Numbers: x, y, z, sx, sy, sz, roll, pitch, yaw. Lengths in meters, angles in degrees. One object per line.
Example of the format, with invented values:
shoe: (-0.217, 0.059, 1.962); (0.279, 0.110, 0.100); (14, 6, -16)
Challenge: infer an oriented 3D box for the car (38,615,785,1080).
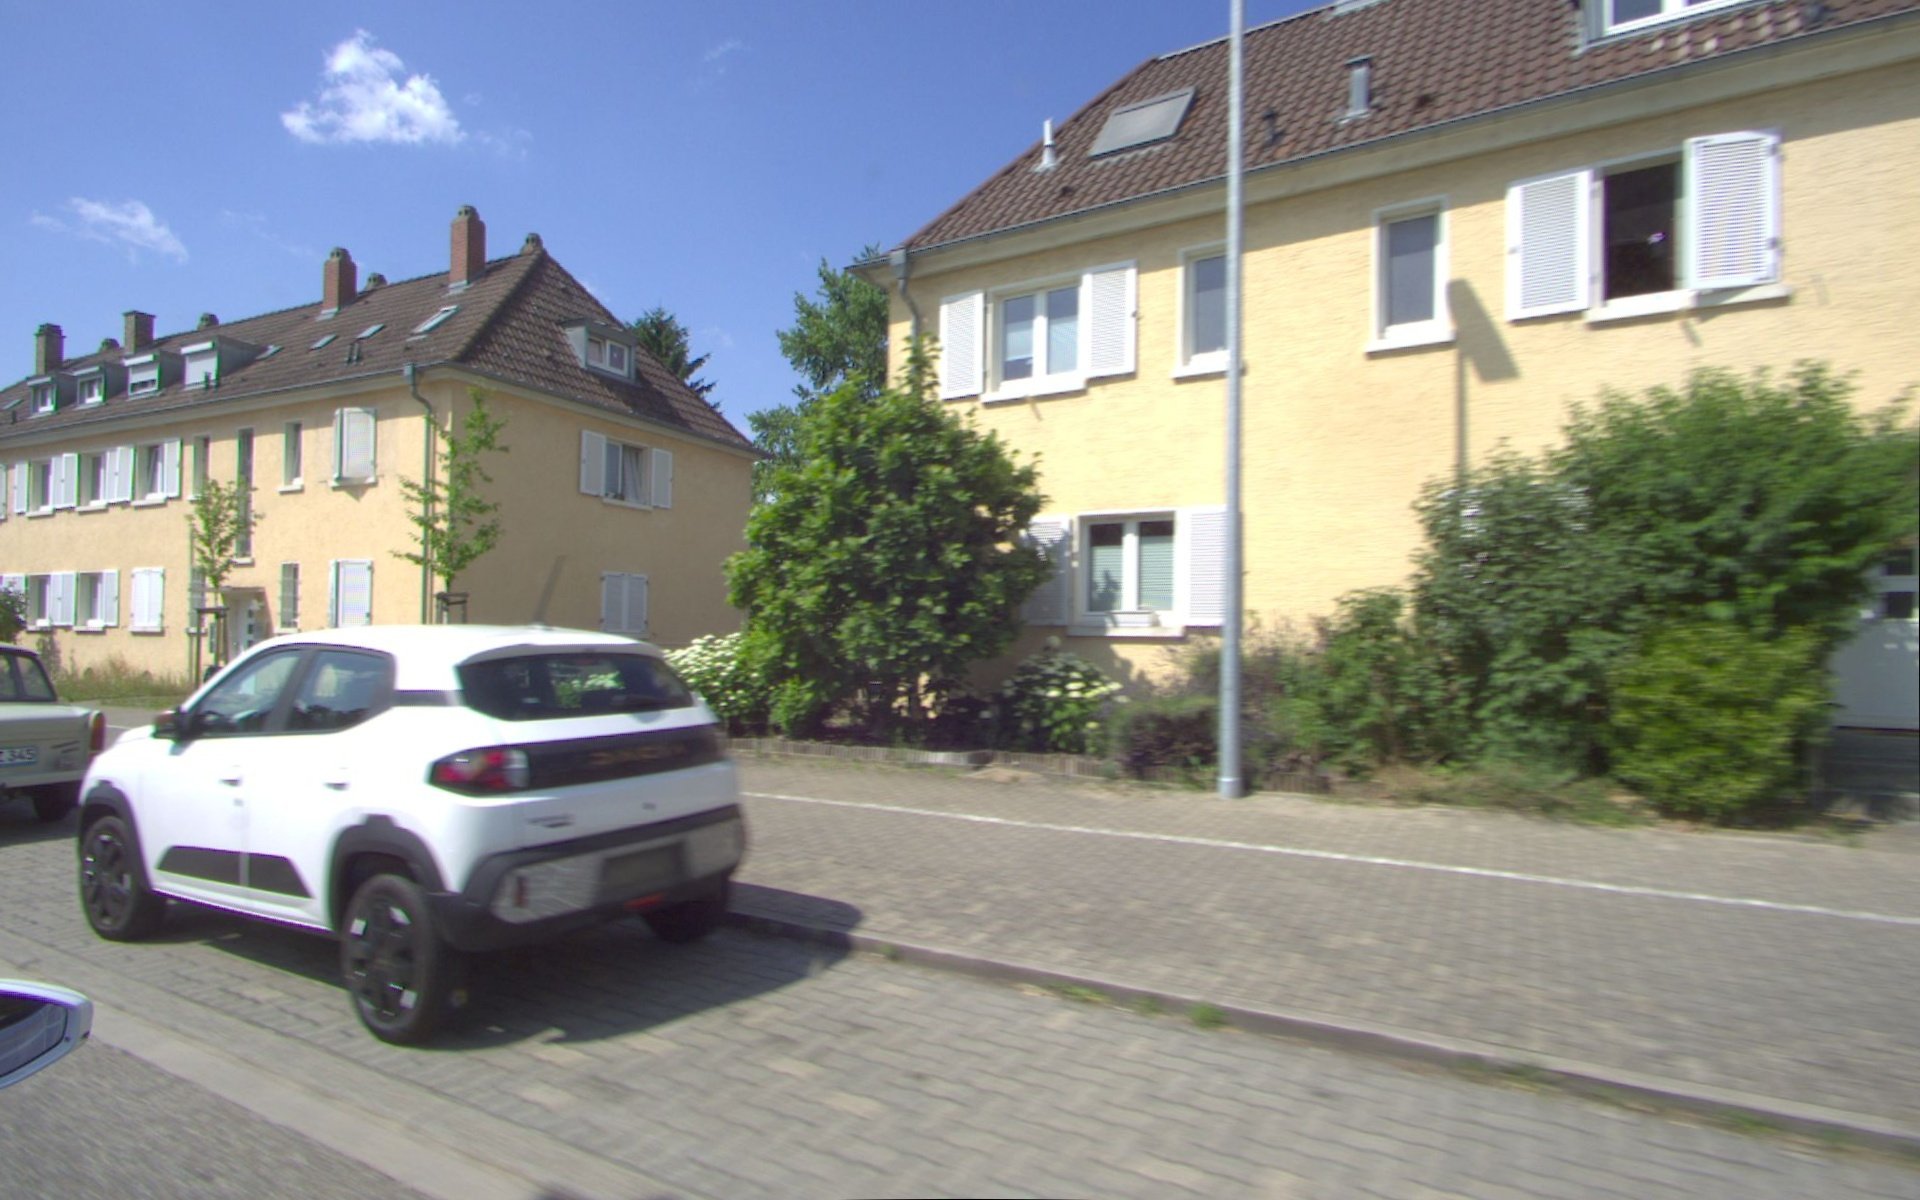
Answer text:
car: (-2.789, 0.843, 4.878); (3.754, 1.500, 1.525); (-1, -2, 31)

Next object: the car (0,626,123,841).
car: (-8.572, 0.962, 8.052); (4.046, 1.521, 1.462); (-1, -2, 29)
